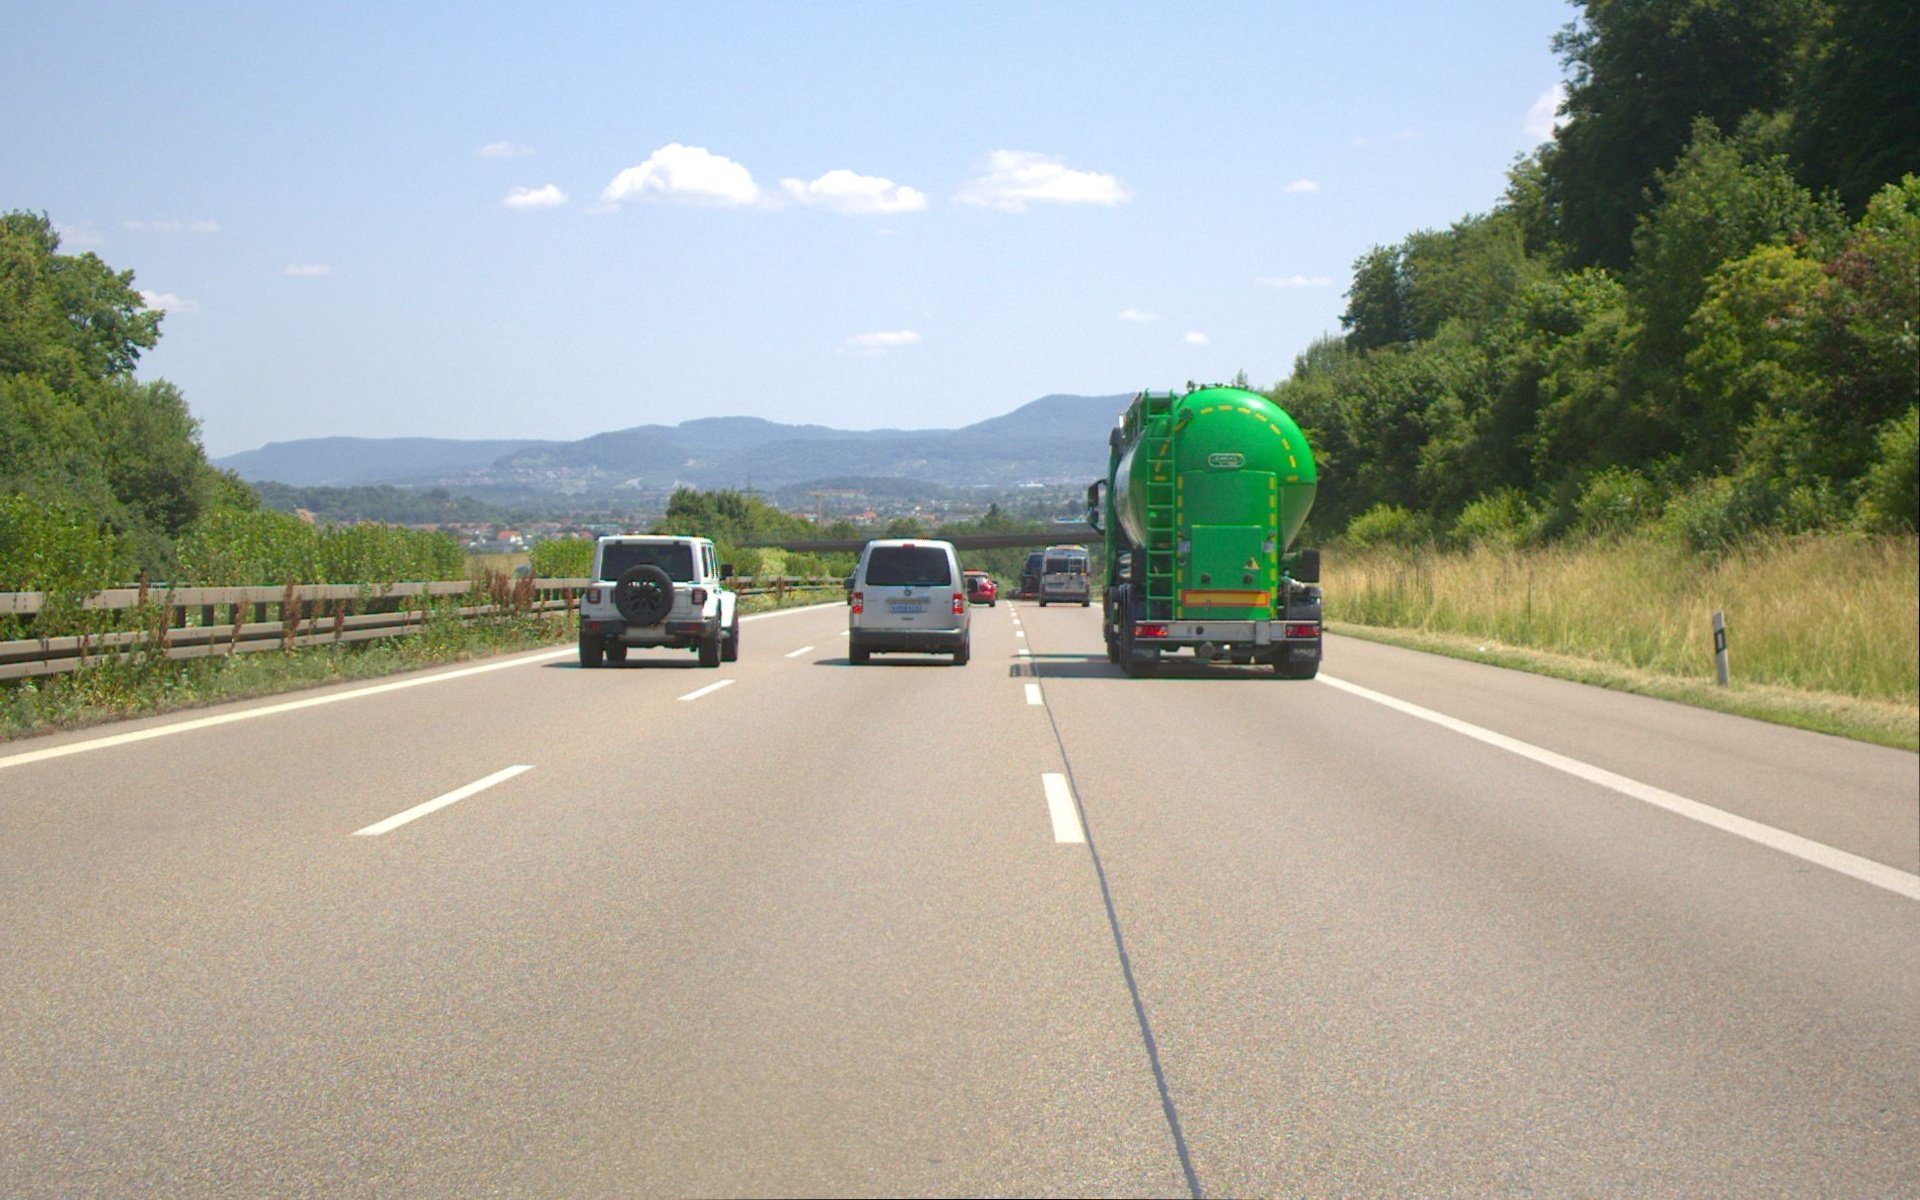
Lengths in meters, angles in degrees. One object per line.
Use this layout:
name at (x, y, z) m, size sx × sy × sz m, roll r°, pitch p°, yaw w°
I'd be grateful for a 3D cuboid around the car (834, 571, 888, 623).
car at (-4.027, -0.142, 140.172) m, size 1.993 × 2.007 × 4.000 m, roll 1°, pitch 1°, yaw 1°

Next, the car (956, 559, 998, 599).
car at (0.696, -0.851, 138.544) m, size 1.446 × 1.545 × 3.356 m, roll 1°, pitch 1°, yaw 4°

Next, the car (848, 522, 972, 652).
car at (-0.755, -0.226, 51.685) m, size 1.745 × 1.823 × 4.801 m, roll 1°, pitch 1°, yaw -1°

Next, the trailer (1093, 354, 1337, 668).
trailer at (3.504, -1.239, 49.686) m, size 2.587 × 4.014 × 10.471 m, roll 1°, pitch 1°, yaw 0°

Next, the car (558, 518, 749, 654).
car at (-4.316, -0.228, 49.117) m, size 2.083 × 1.823 × 4.753 m, roll 1°, pitch 1°, yaw 2°

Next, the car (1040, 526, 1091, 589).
car at (4.452, -1.806, 145.125) m, size 2.089 × 2.567 × 6.622 m, roll 1°, pitch 1°, yaw 2°

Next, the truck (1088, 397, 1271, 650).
truck at (3.439, -1.209, 54.951) m, size 2.509 × 3.828 × 4.893 m, roll 1°, pitch 1°, yaw 0°
